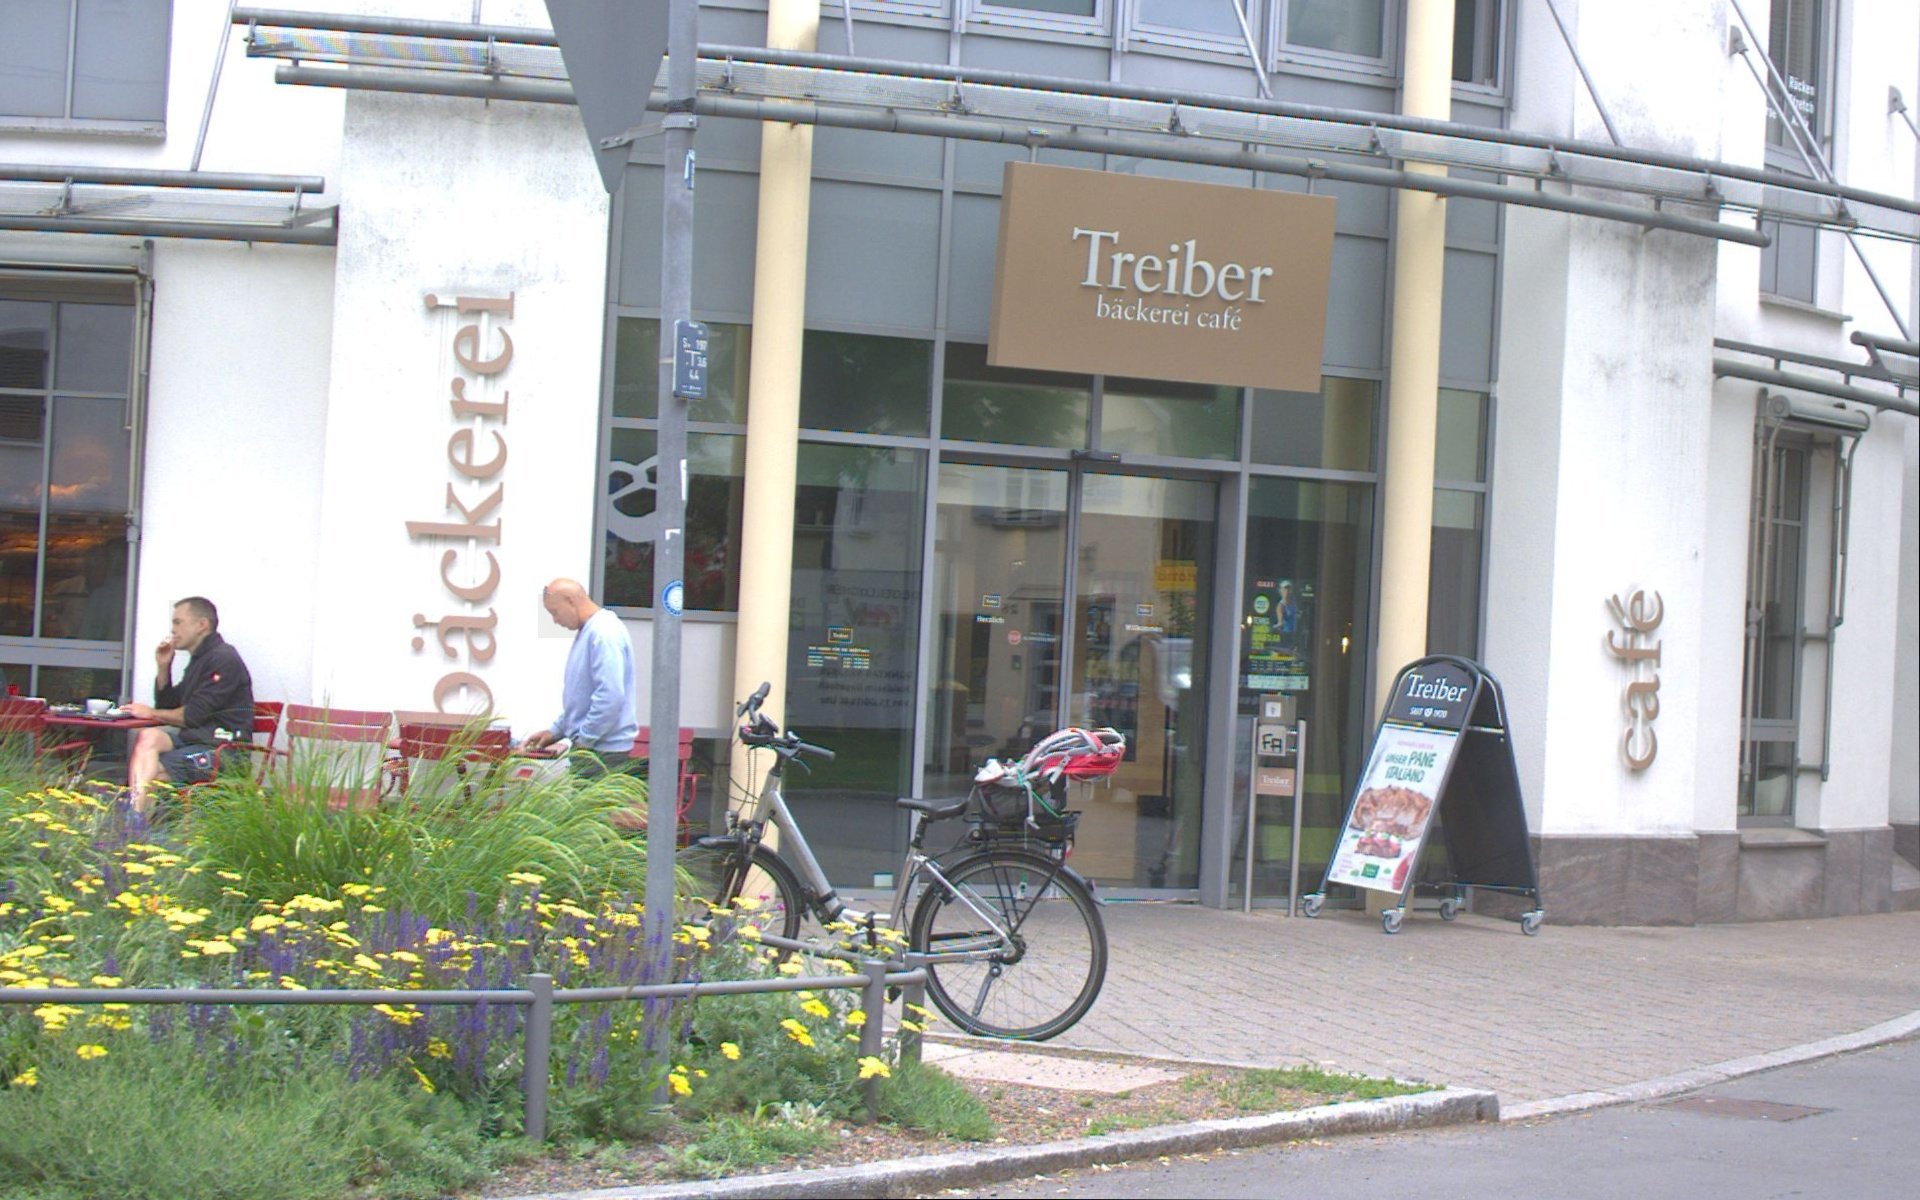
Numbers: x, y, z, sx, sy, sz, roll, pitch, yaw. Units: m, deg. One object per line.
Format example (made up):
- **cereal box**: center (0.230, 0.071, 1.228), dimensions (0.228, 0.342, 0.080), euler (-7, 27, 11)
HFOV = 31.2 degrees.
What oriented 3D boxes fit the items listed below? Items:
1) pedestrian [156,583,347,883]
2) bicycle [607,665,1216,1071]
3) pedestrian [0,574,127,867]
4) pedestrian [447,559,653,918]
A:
- **pedestrian**: center (-3.315, 0.609, 16.138), dimensions (0.655, 1.337, 0.696), euler (3, 0, 2)
- **bicycle**: center (-0.164, 0.923, 12.309), dimensions (1.975, 1.235, 0.743), euler (4, 0, 15)
- **pedestrian**: center (-4.424, 0.553, 16.282), dimensions (0.700, 1.327, 0.684), euler (3, 0, 2)
- **pedestrian**: center (-1.821, 0.601, 15.386), dimensions (0.700, 1.520, 0.867), euler (3, 0, 2)
